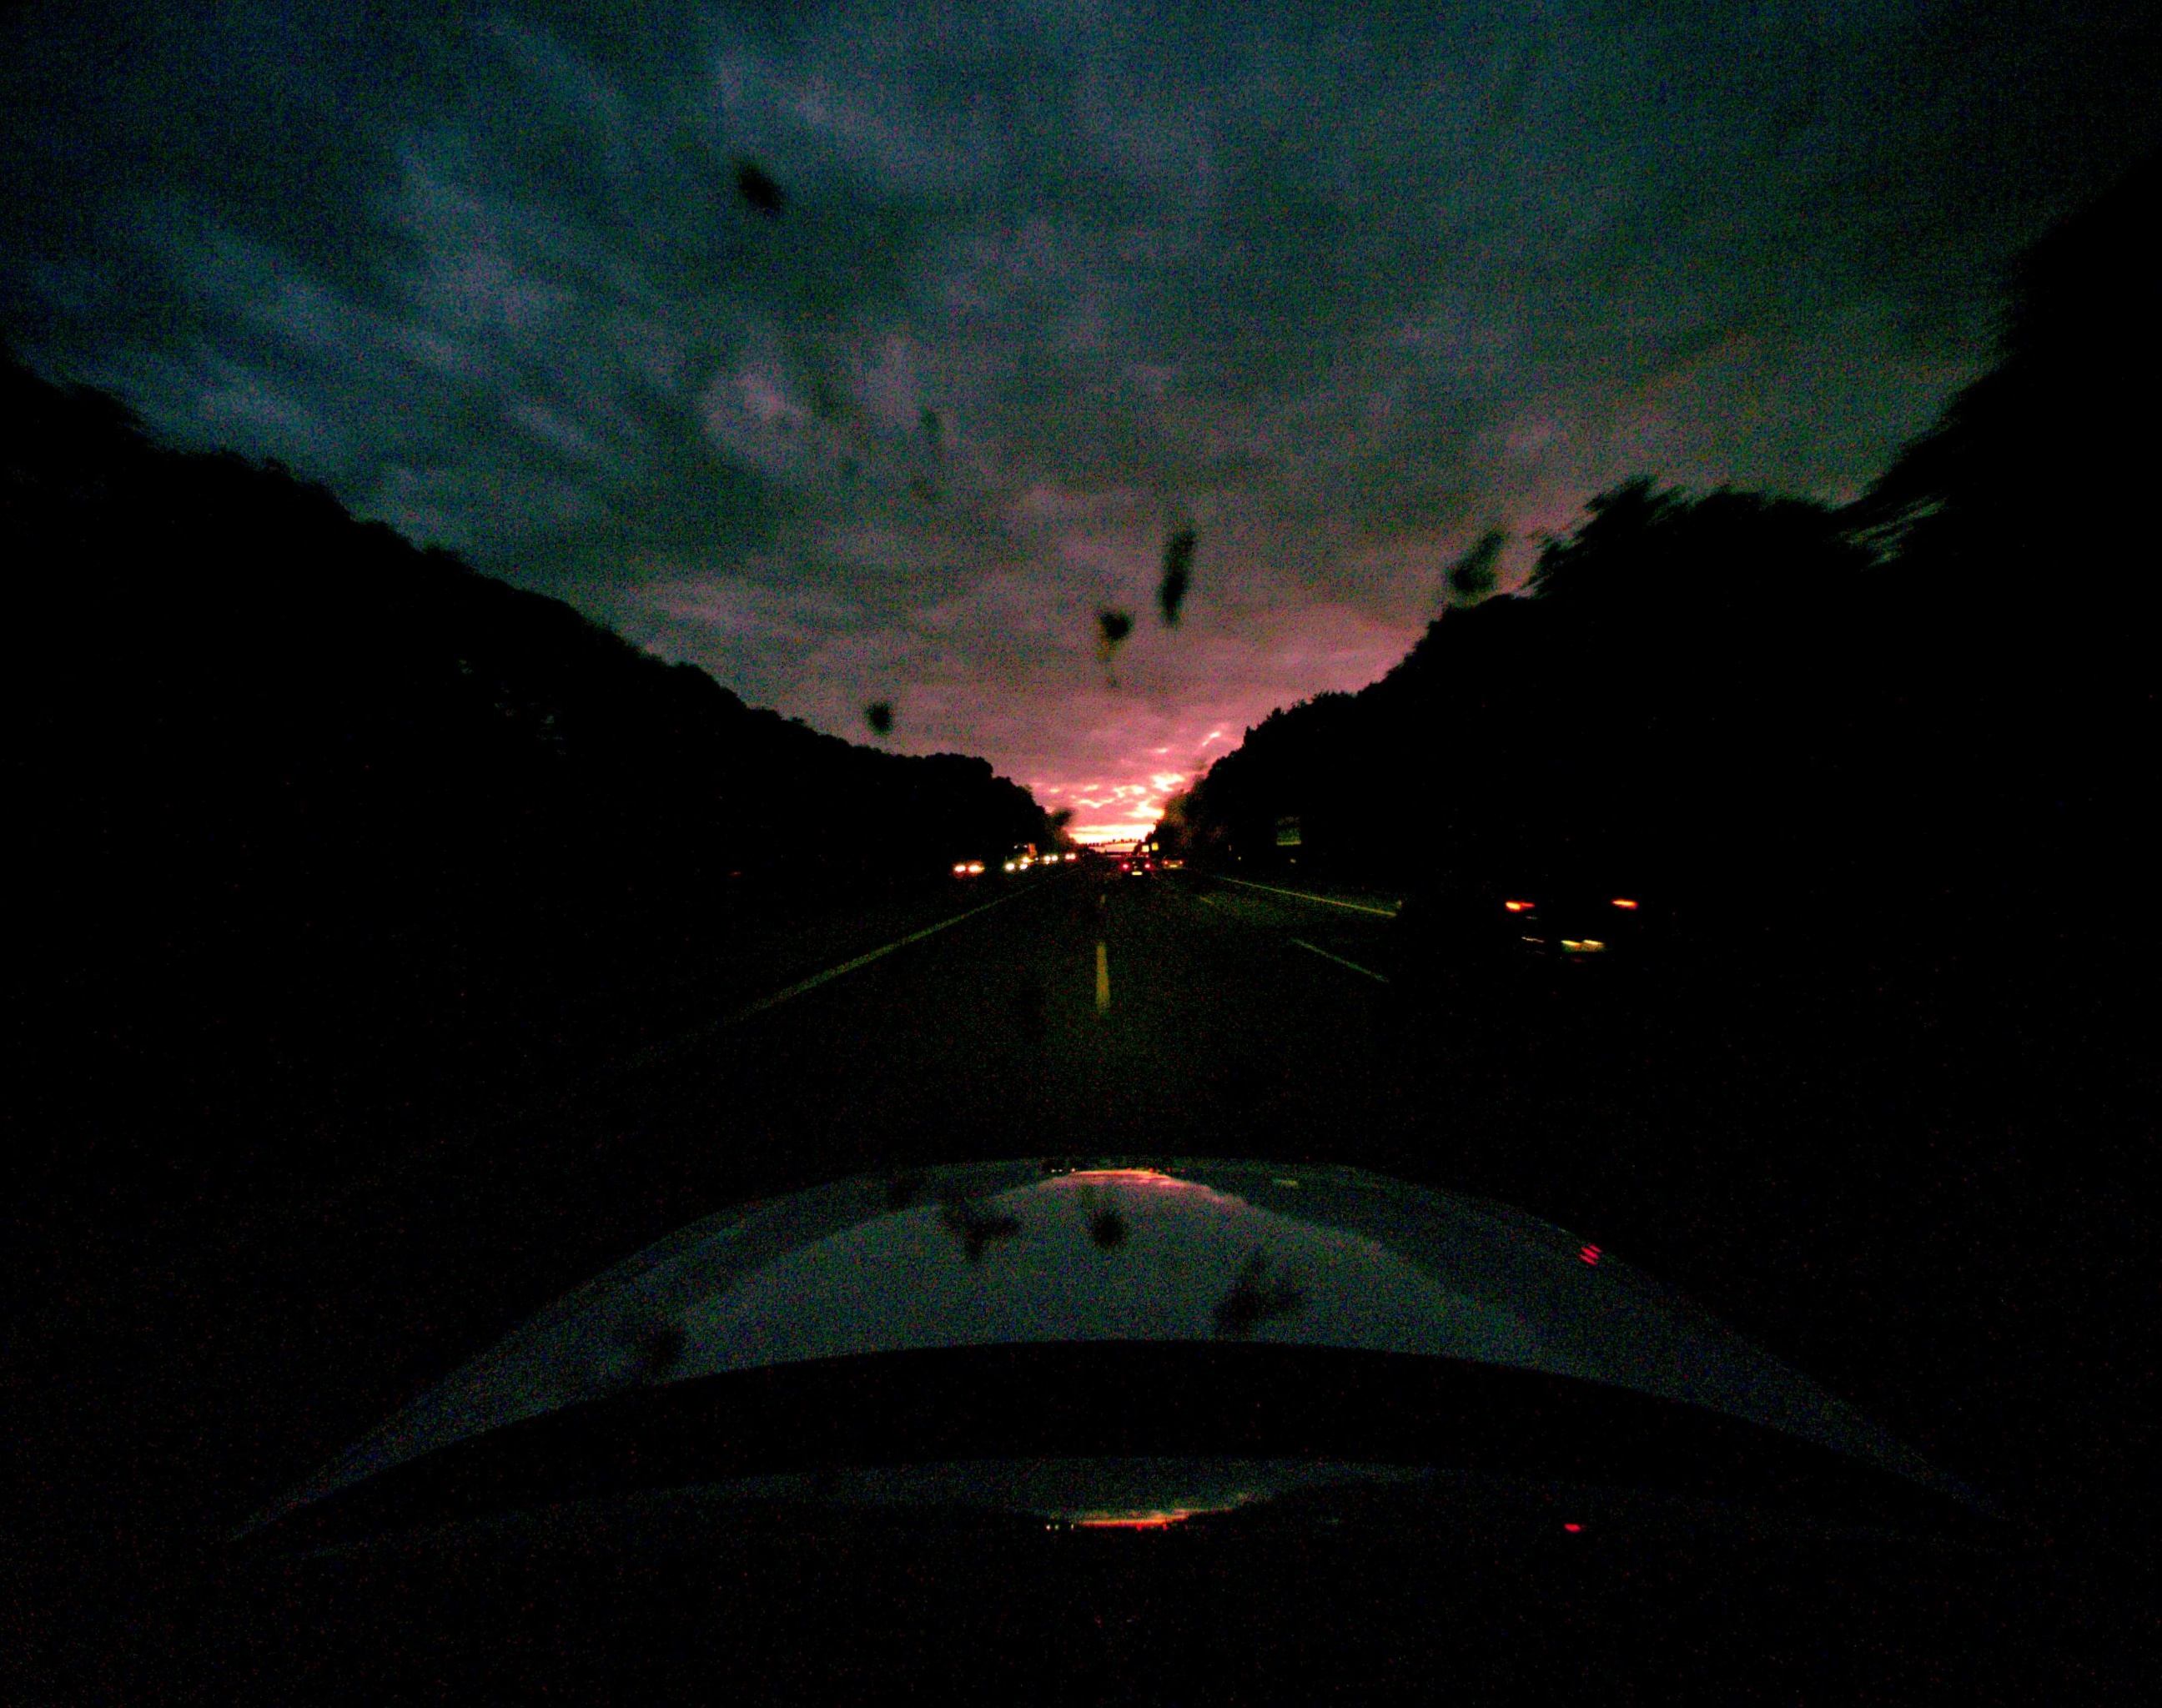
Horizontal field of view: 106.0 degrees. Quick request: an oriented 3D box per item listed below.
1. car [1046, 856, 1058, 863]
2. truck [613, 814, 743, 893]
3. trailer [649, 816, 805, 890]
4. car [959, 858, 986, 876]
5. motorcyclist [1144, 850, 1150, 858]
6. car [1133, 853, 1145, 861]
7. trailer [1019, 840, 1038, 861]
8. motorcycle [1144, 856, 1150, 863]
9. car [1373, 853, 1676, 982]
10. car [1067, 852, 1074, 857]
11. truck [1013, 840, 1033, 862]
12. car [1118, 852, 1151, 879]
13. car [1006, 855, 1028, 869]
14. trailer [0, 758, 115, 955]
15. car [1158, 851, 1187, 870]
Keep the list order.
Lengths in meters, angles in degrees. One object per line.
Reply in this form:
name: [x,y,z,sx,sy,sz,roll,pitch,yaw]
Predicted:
car: [-6.071,1.084,170.337,1.902,1.451,5.358,-2,0,3]
truck: [-22.731,0.024,46.572,3.177,4.105,7.696,-1,-1,3]
trailer: [-22.349,0.021,52.989,3.177,4.105,14.196,-1,-1,3]
car: [-10.000,1.161,75.337,1.680,1.515,4.417,-1,0,2]
motorcyclist: [10.384,0.015,127.617,0.826,1.291,1.190,-2,-1,2]
car: [11.366,0.521,158.942,1.860,1.494,4.395,0,-1,-2]
trailer: [-10.516,-0.674,164.640,2.636,3.930,10.193,-2,0,3]
motorcycle: [10.405,0.855,127.671,0.826,1.134,2.477,-2,-1,2]
car: [5.816,0.729,11.471,1.858,1.436,4.585,0,0,1]
car: [-3.183,0.190,241.935,1.873,1.574,4.657,-2,0,2]
truck: [-11.034,-0.600,156.000,2.635,3.971,7.130,-2,0,4]
car: [3.074,0.692,47.576,1.698,1.509,4.232,0,-1,1]
car: [-6.533,0.774,83.672,1.844,1.381,4.644,-1,0,0]
trailer: [-24.346,0.030,12.053,3.177,4.105,13.750,-1,-1,3]
car: [7.701,0.580,69.062,1.821,1.476,4.395,0,-1,-2]
